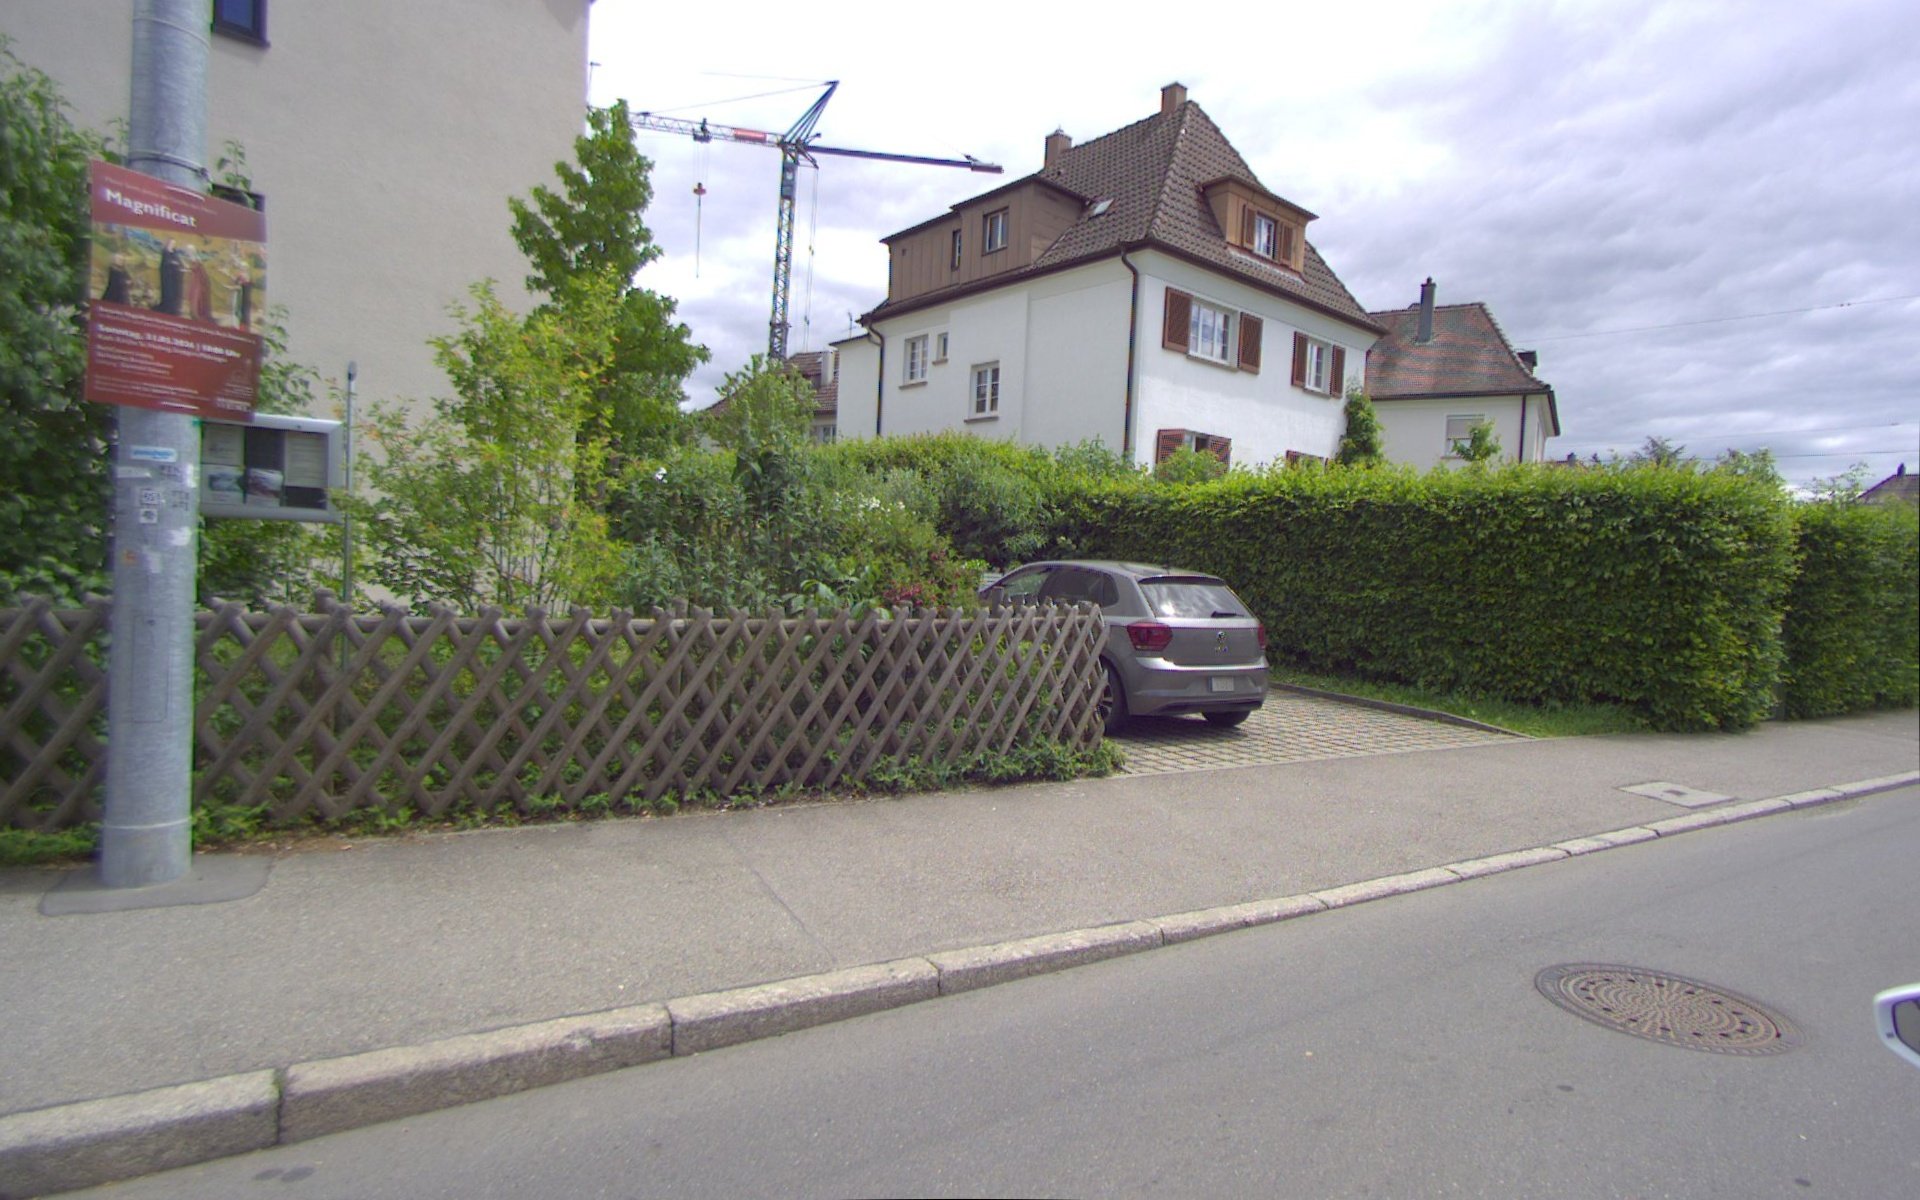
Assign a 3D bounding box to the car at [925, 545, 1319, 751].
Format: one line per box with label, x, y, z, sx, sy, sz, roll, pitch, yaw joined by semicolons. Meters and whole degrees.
car;1.351;0.321;9.763;1.796;1.453;3.652;2;4;-30
